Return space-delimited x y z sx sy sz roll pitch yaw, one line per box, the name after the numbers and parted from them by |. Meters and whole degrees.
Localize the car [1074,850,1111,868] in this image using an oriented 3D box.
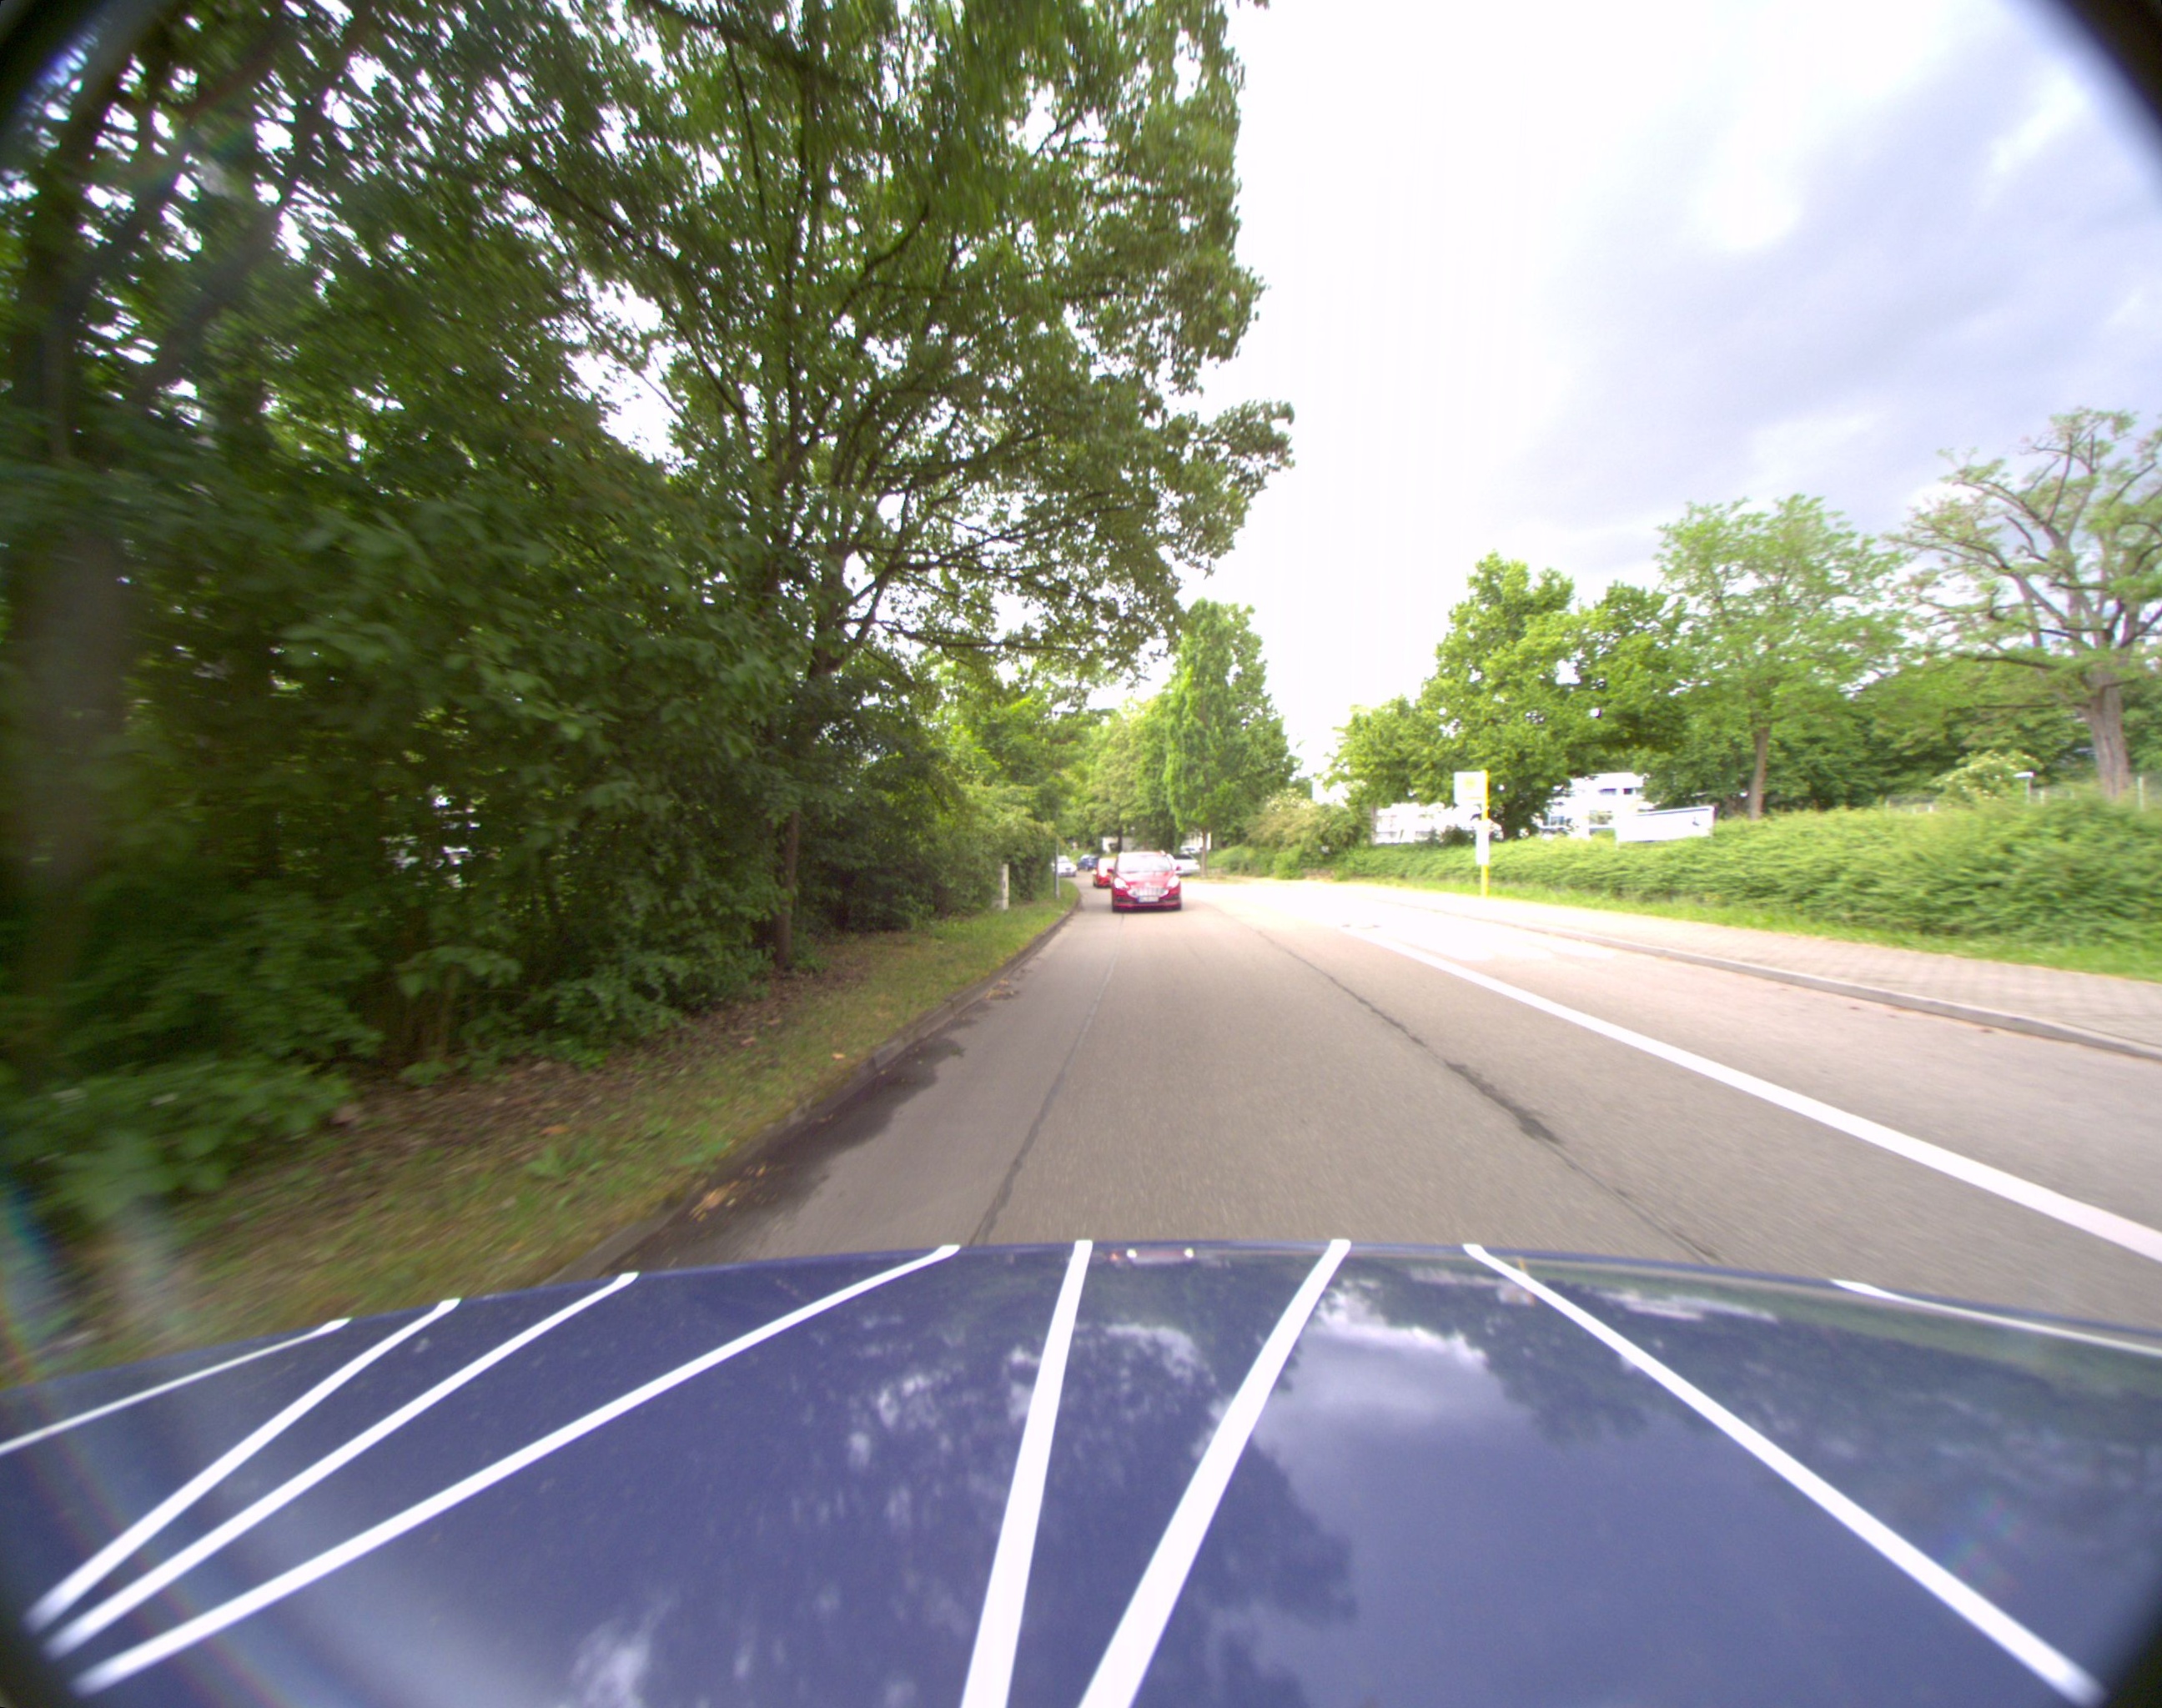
0.980 0.464 66.931 1.855 1.483 3.993 -2 0 -21 | car

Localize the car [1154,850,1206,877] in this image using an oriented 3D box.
5.729 0.520 44.575 1.854 1.483 4.632 -2 0 -8 | car

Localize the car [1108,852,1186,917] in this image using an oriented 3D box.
1.793 0.779 21.722 1.945 1.550 4.355 -2 1 2 | car

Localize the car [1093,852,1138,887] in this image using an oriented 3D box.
1.635 0.706 37.369 1.947 1.523 4.085 -2 1 -1 | car

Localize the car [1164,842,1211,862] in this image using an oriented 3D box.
9.955 -0.188 71.011 3.801 1.629 2.003 -1 2 36 | car

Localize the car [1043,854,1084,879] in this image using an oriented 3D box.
-1.326 0.883 56.034 2.001 1.684 3.994 -3 2 -15 | car
